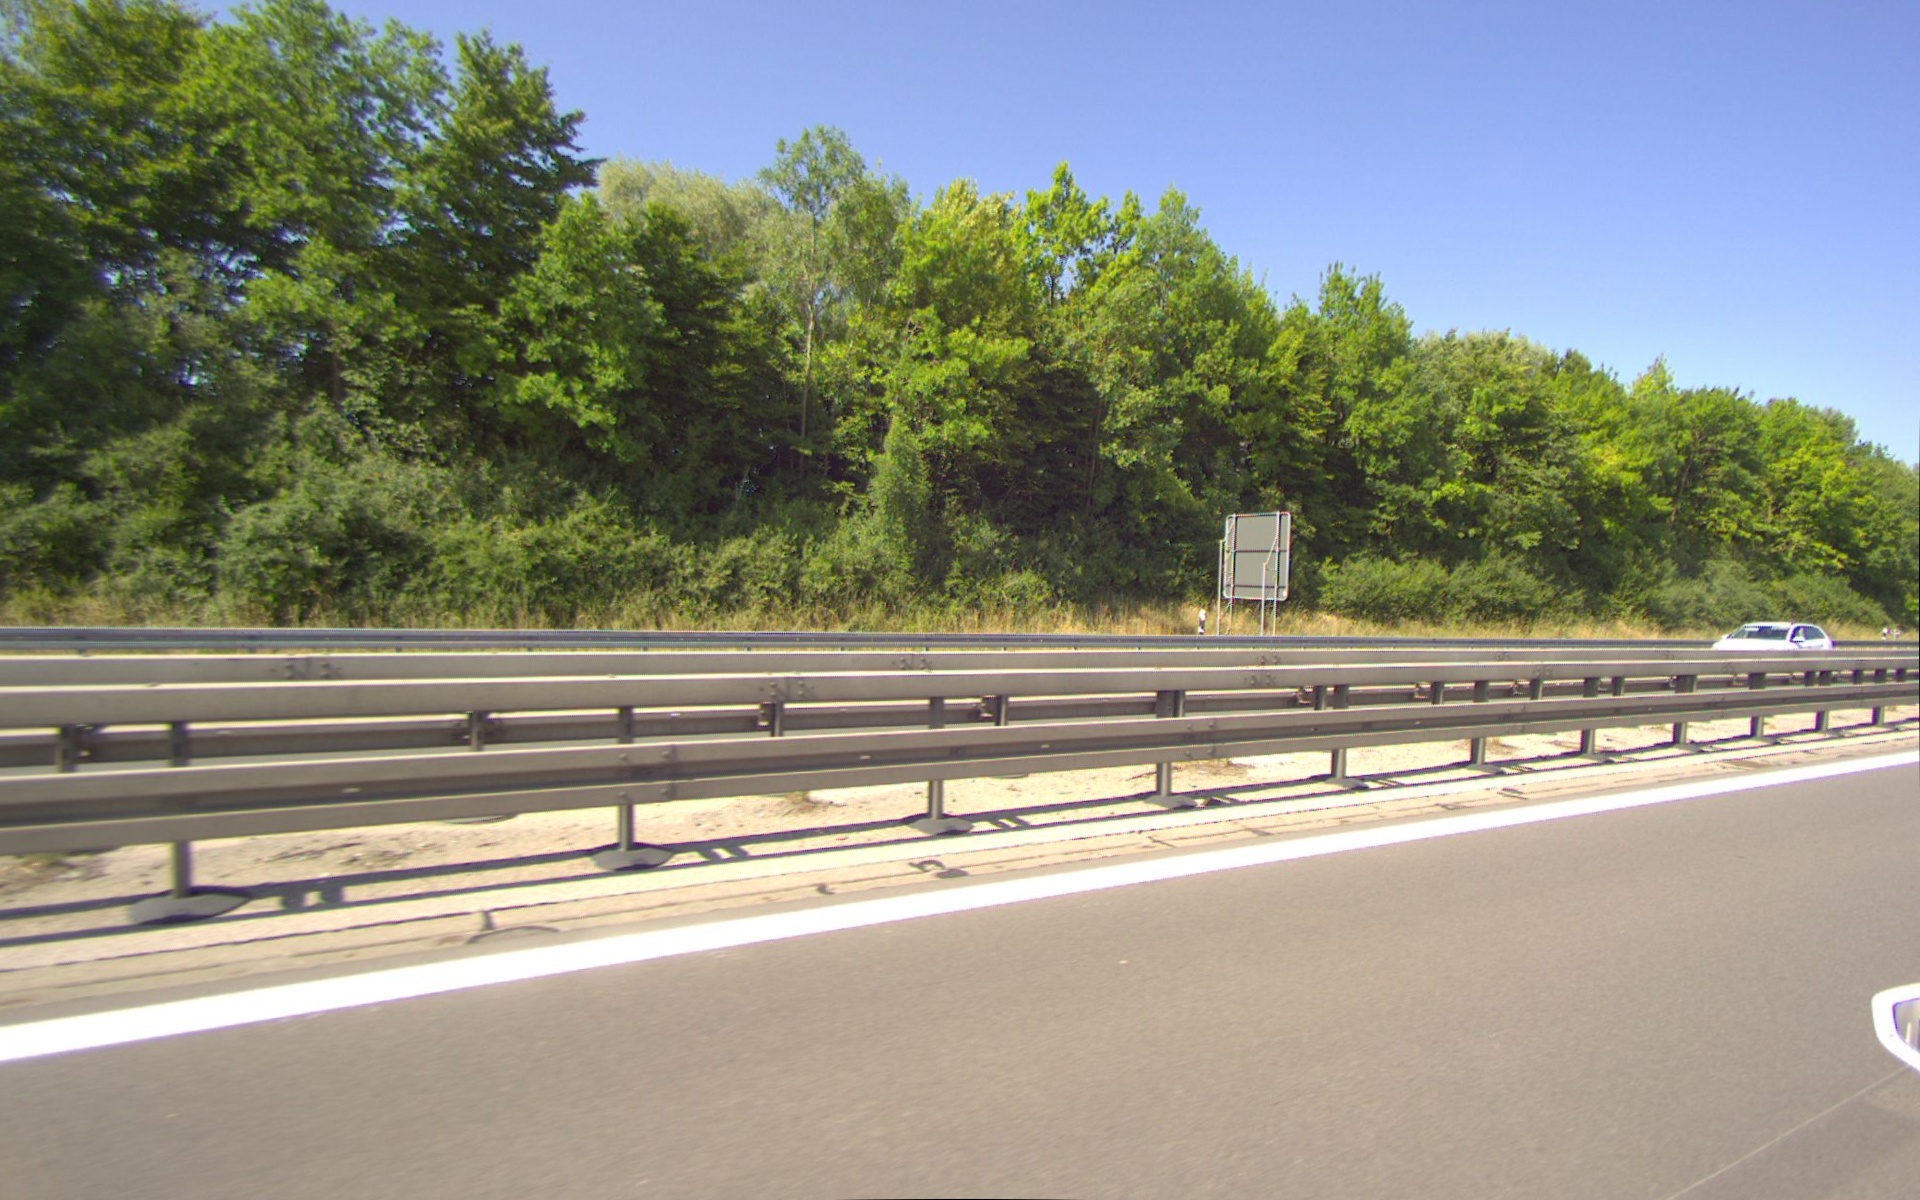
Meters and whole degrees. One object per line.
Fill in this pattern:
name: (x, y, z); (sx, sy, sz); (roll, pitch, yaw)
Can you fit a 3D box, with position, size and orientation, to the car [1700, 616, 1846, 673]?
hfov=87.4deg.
car: (23.692, 1.262, 29.227); (4.919, 1.503, 1.677); (1, 1, -31)
